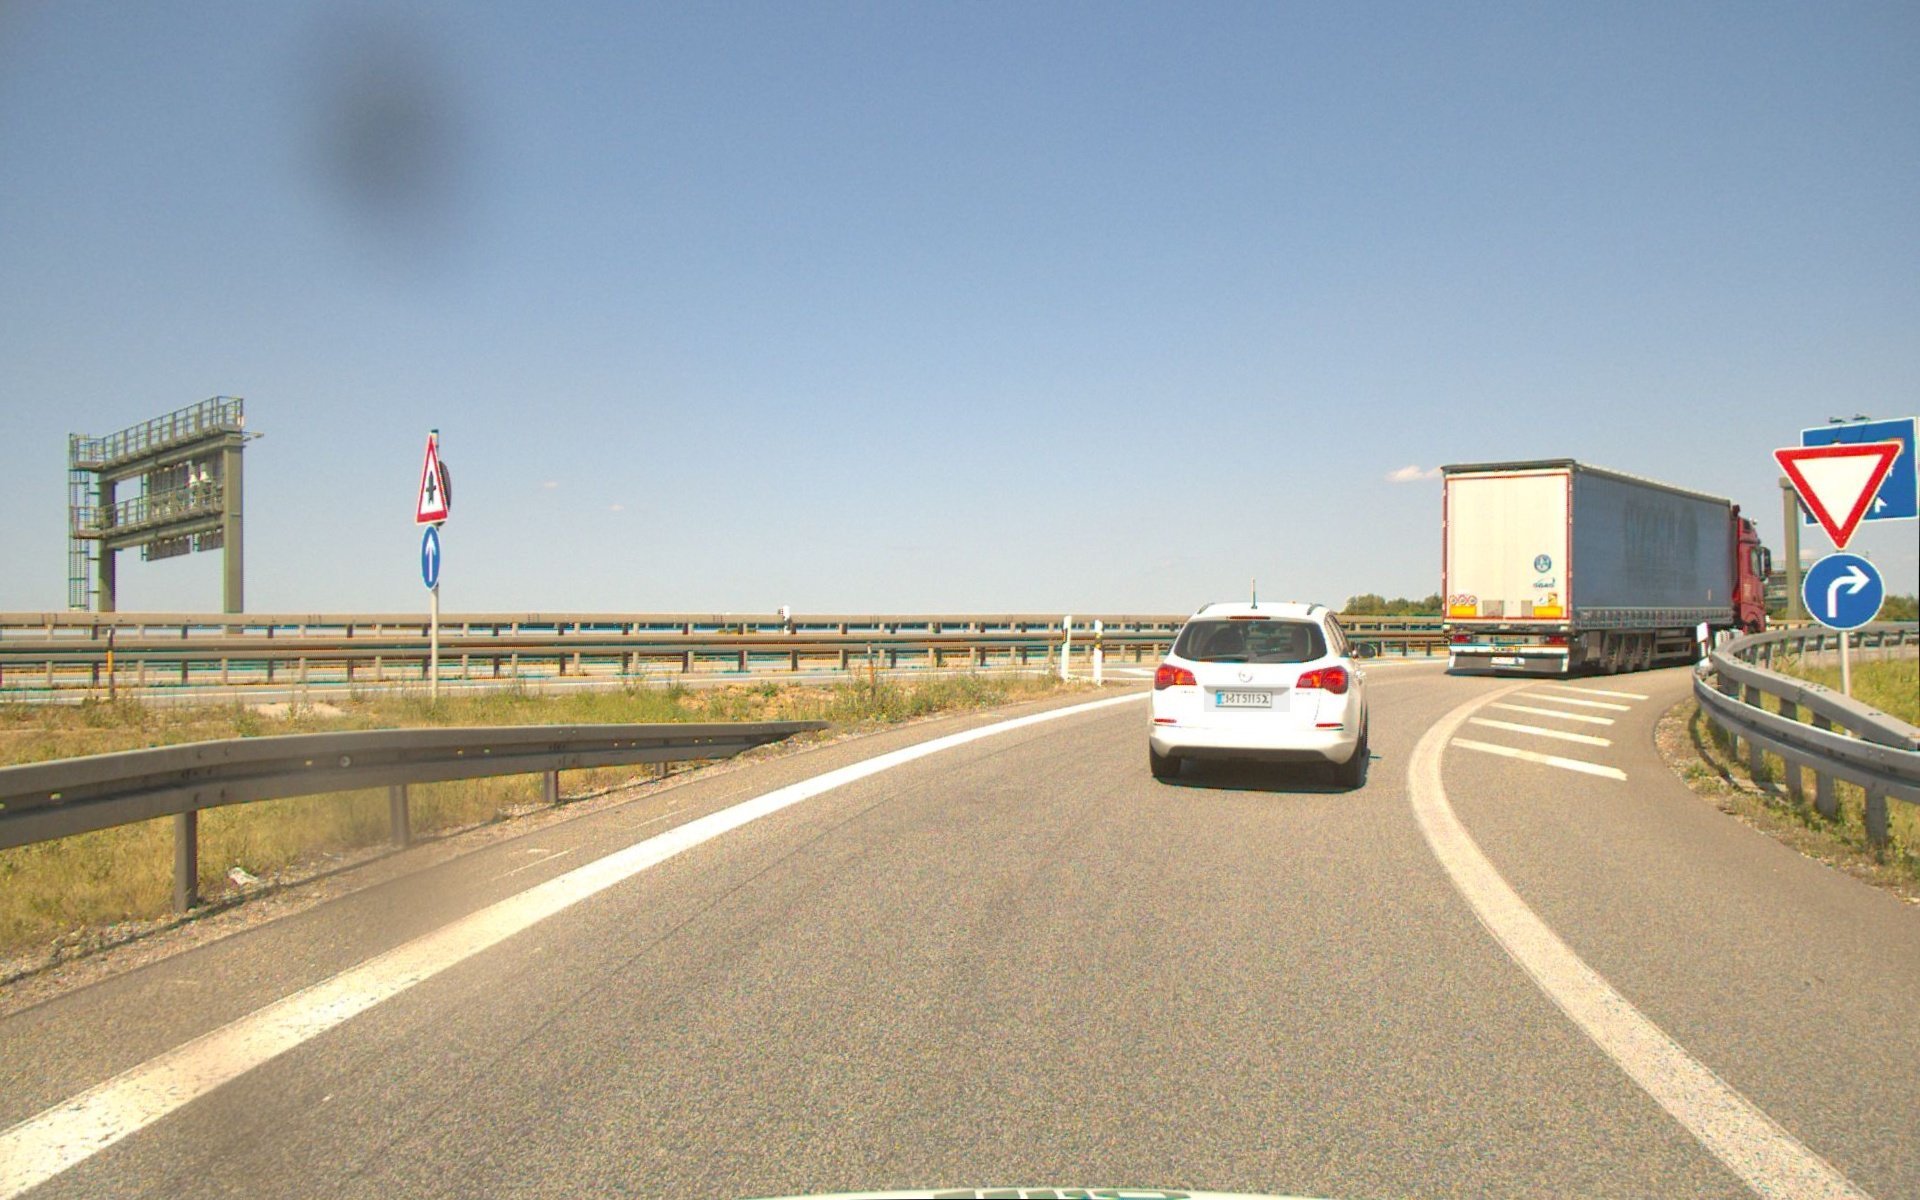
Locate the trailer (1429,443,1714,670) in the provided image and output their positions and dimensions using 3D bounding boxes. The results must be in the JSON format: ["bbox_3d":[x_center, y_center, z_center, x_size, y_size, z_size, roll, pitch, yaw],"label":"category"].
[{"bbox_3d":[13.695,-0.645,36.182,2.864,4.218,11.211,0,-2,36],"label":"trailer"}]

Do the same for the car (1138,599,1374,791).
[{"bbox_3d":[2.803,0.769,15.023,1.815,1.468,4.375,0,-1,14],"label":"car"}]

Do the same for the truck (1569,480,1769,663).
[{"bbox_3d":[18.010,-0.547,41.767,2.867,4.218,6.889,-1,-2,39],"label":"truck"}]
